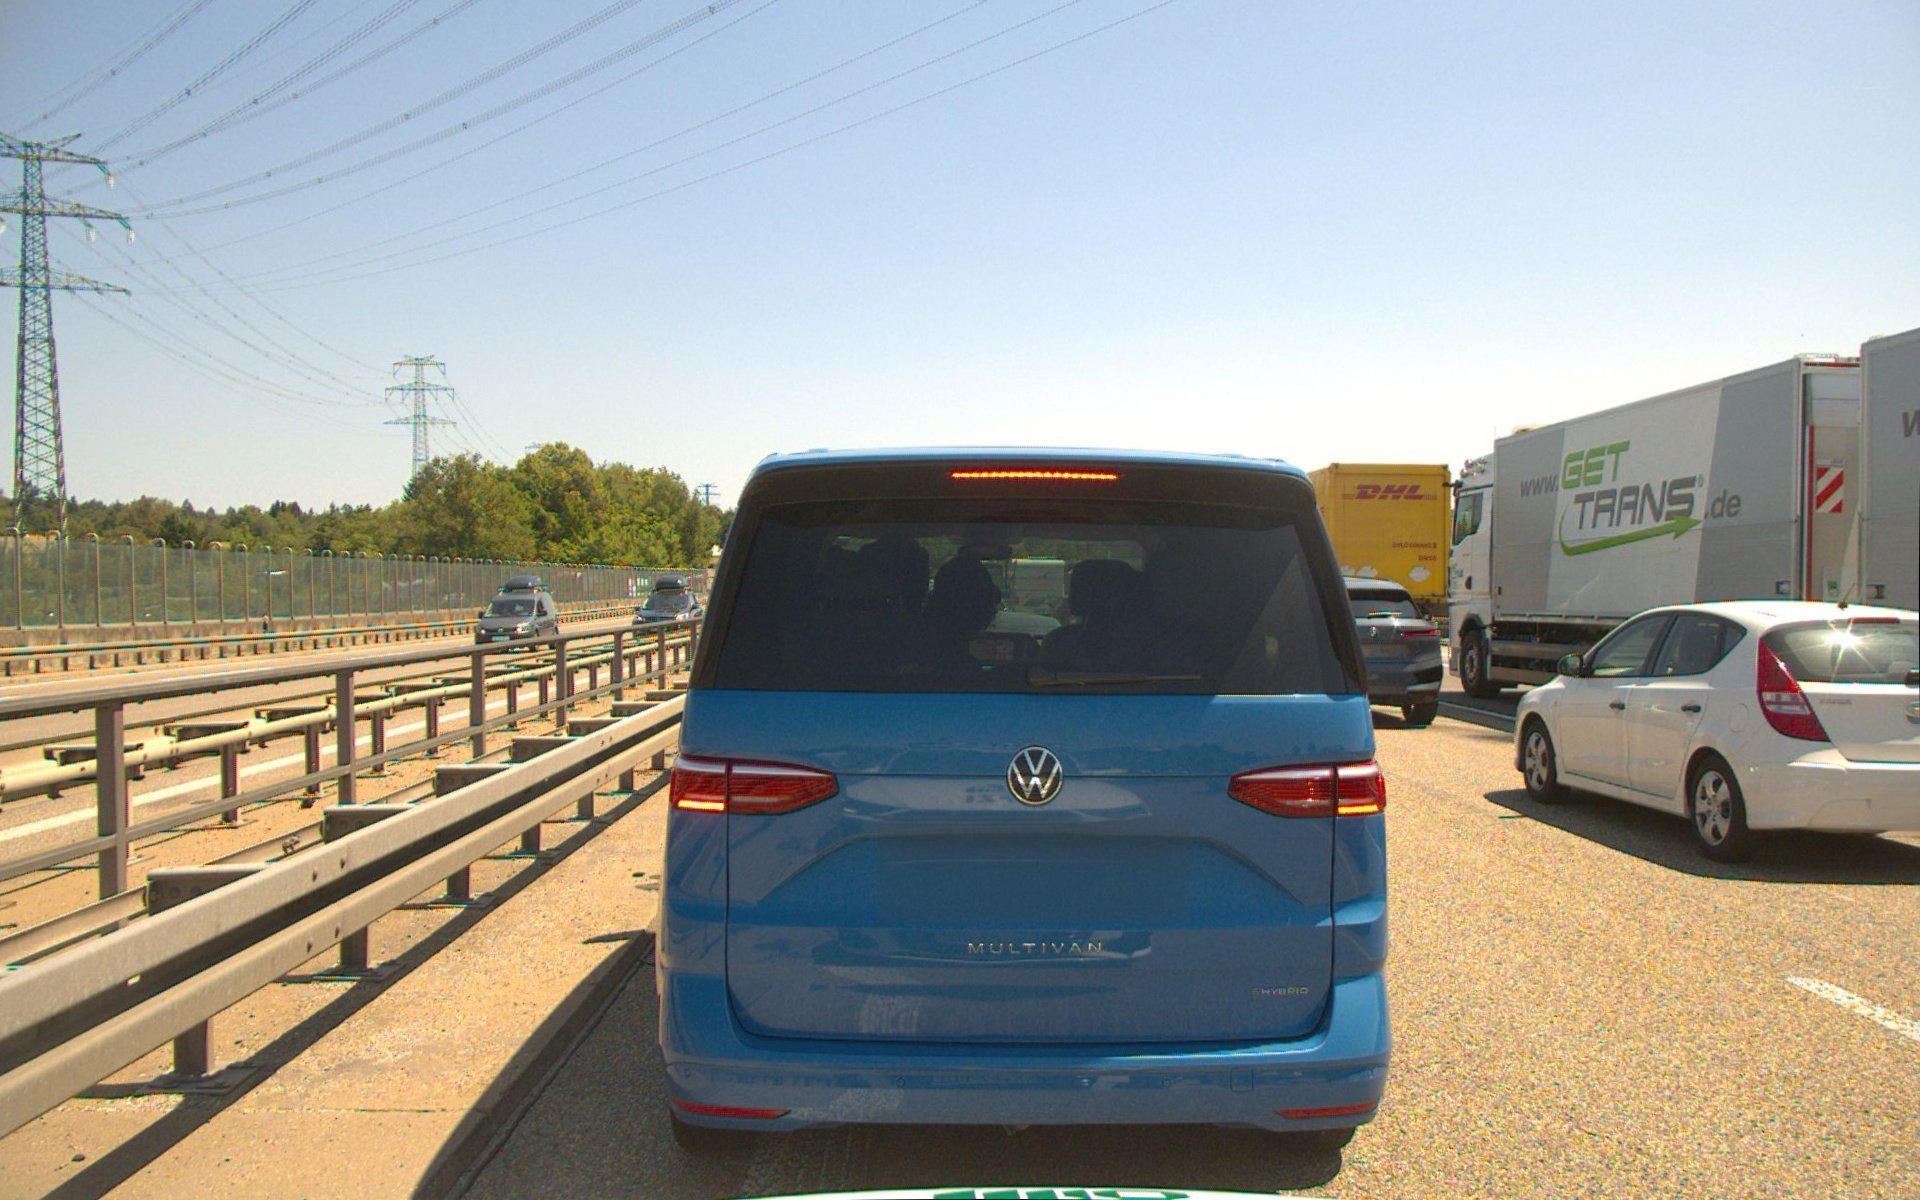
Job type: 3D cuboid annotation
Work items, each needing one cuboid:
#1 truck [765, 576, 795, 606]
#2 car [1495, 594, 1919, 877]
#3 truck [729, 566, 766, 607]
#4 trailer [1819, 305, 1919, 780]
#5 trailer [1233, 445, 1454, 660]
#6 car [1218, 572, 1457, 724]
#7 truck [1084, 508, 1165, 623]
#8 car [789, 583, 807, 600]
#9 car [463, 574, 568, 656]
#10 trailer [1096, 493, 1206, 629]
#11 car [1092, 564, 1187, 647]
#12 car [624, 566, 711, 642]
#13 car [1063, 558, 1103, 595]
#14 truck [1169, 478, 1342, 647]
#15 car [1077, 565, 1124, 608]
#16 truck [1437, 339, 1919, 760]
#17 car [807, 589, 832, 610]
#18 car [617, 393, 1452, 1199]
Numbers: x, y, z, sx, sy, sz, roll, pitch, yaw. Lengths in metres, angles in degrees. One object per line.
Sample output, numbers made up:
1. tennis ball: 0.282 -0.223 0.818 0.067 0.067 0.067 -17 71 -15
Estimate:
1. truck: -20.118 -1.000 184.899 2.468 3.164 8.720 -4 0 -2
2. car: 5.127 0.710 10.913 1.752 1.481 4.292 0 0 -1
3. truck: -18.662 -1.173 145.543 2.447 3.424 5.833 -2 0 -1
4. trailer: 8.973 -0.437 10.609 2.643 3.765 8.013 0 0 -1
5. trailer: 8.507 -0.967 37.971 2.806 4.313 9.010 1 0 -1
6. car: 4.511 0.515 20.447 1.922 1.673 4.292 0 0 -1
7. truck: 6.848 -1.393 69.619 2.613 4.562 6.848 1 0 -1
8. car: -22.515 -1.178 230.378 2.040 2.187 4.311 -2 1 -1
9. car: -13.184 0.413 49.308 1.953 2.254 4.267 -3 0 -1
10. trailer: 6.996 -1.379 62.172 2.583 4.595 11.299 1 0 -1
11. car: 4.586 0.119 42.709 1.922 2.028 4.292 0 0 -1
12. car: -8.959 0.103 50.969 1.825 2.168 4.268 -3 0 0
13. car: 7.180 -1.357 96.929 1.953 2.049 4.460 -1 0 -1
14. truck: 8.281 -0.986 47.982 2.778 4.317 11.008 1 0 -1
15. car: 6.997 -0.657 82.892 1.953 2.049 3.999 1 0 -1
16. truck: 8.798 -0.487 20.125 2.603 3.711 11.008 0 0 -1
17. car: -10.763 -0.050 126.968 1.586 1.489 3.701 -2 0 -1
18. car: 0.141 0.508 5.606 1.783 1.890 4.074 1 0 -1
